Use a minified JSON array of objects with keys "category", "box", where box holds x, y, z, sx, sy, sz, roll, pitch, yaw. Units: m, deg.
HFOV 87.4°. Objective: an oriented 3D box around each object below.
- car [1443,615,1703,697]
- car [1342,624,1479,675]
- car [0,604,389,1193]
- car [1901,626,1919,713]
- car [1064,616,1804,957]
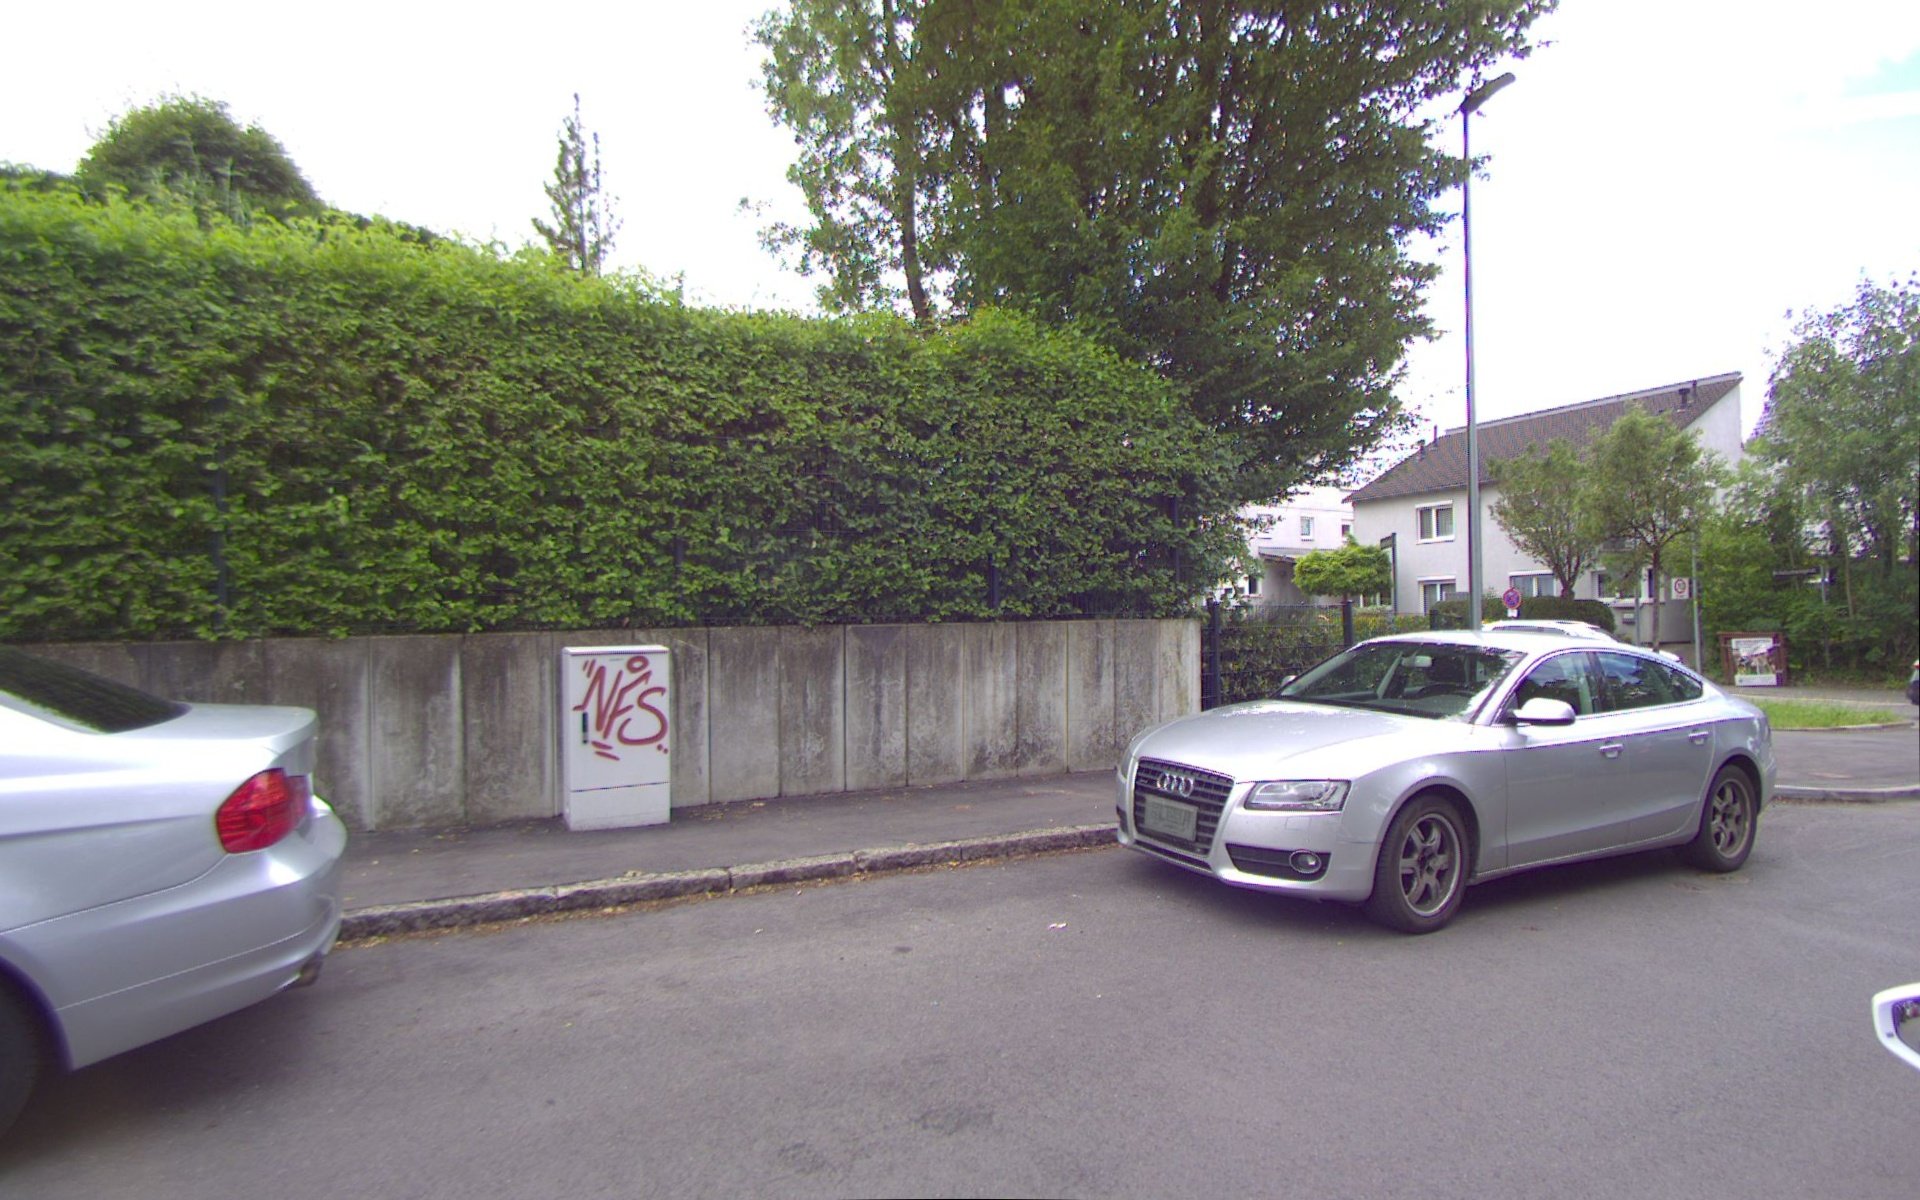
[{"category":"car","box":[14.151,1.223,23.567,2.011,1.692,4.919,2,-1,-26]},{"category":"car","box":[13.776,1.469,30.858,1.654,1.431,3.519,1,-1,-33]},{"category":"car","box":[-3.888,0.702,2.406,4.294,1.392,1.764,1,0,-33]},{"category":"car","box":[17.960,1.207,15.924,1.720,1.466,4.146,2,-1,-30]},{"category":"car","box":[2.960,0.827,6.076,4.390,1.392,1.823,1,0,-29]}]
